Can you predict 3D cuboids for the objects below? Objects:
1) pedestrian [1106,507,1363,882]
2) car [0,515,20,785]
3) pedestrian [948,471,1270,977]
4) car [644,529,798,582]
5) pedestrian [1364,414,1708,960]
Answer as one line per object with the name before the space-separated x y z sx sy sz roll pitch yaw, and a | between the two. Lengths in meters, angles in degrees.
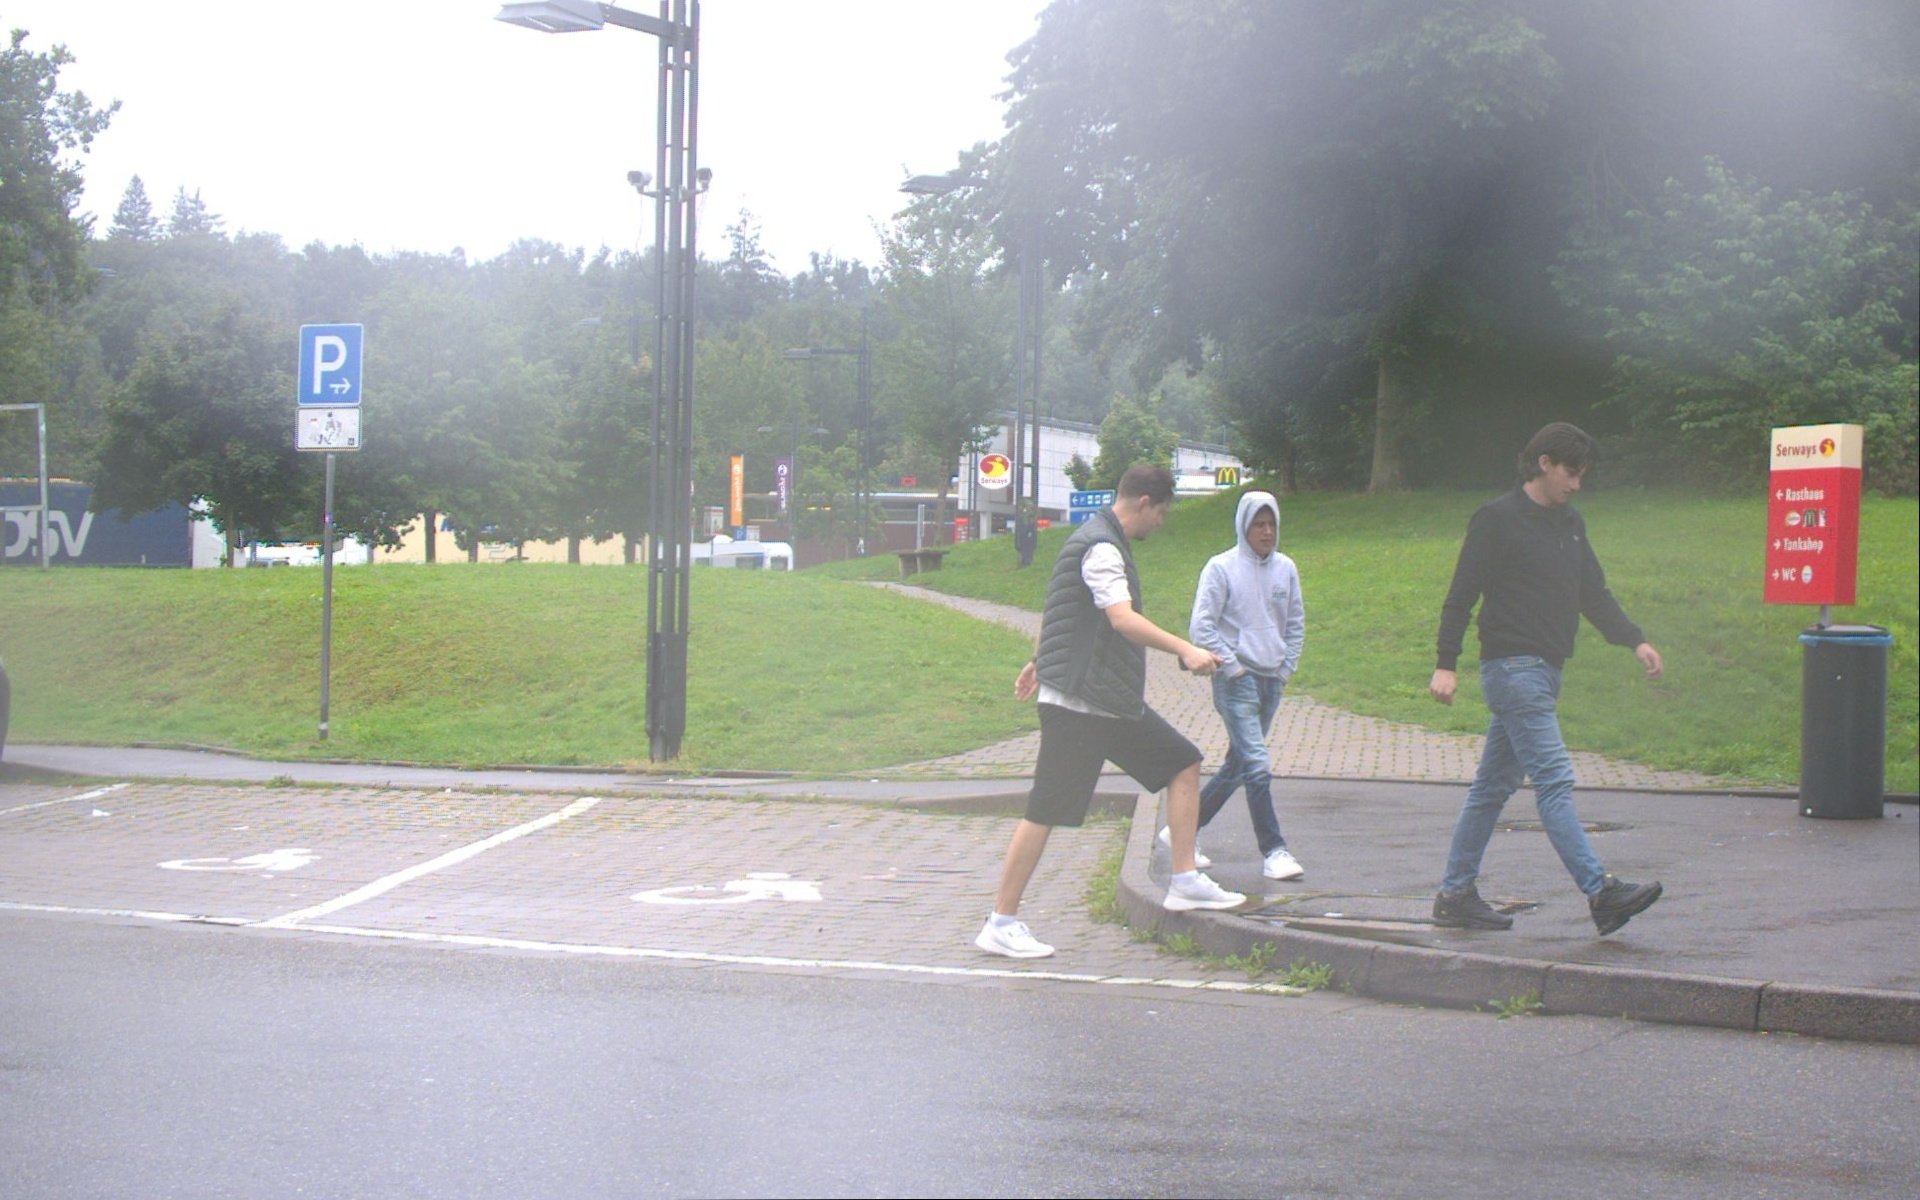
pedestrian | 1.171 0.380 14.624 0.890 1.544 0.659 0 1 29
car | -7.769 0.376 21.463 1.885 1.821 4.411 0 1 11
pedestrian | 0.572 0.441 13.071 0.974 1.842 0.772 0 1 28
car | -9.286 -1.738 133.704 5.429 2.007 2.453 1 1 20
pedestrian | 2.064 0.286 12.287 1.000 1.858 0.798 0 1 28
